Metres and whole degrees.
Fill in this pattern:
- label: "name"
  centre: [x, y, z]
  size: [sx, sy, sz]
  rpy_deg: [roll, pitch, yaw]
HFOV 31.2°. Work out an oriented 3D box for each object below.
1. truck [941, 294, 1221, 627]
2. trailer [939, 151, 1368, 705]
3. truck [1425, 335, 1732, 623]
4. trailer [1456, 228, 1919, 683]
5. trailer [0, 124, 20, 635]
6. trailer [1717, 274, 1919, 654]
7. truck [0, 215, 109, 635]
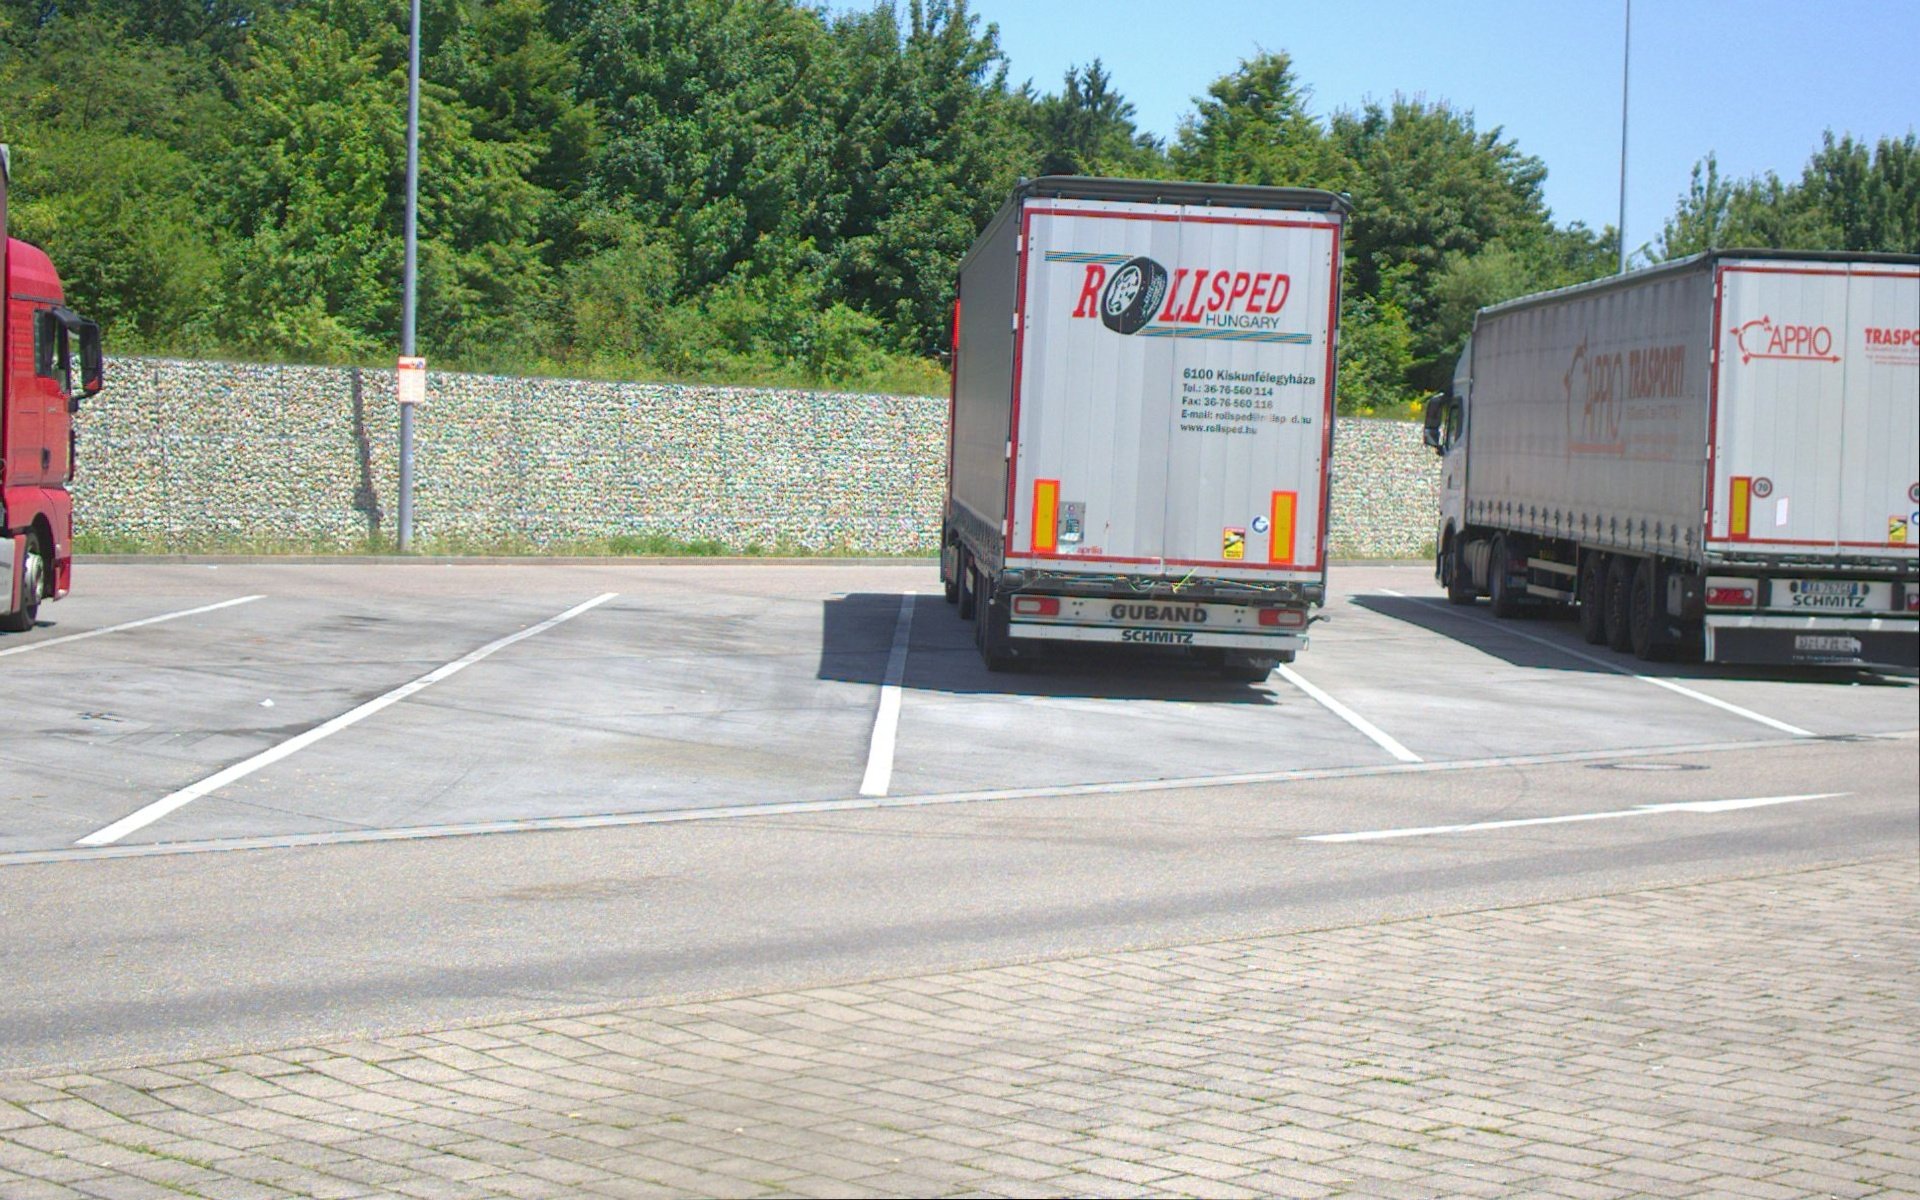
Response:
- label: "truck"
  centre: [1.287, -1.625, 39.806]
  size: [2.852, 3.472, 5.483]
  rpy_deg: [2, 2, -1]
- label: "trailer"
  centre: [1.436, -1.619, 33.193]
  size: [2.906, 4.118, 13.725]
  rpy_deg: [2, 3, -1]
- label: "truck"
  centre: [8.060, -1.622, 45.495]
  size: [2.852, 3.472, 5.483]
  rpy_deg: [2, 2, -1]
- label: "trailer"
  centre: [8.153, -1.625, 38.682]
  size: [2.838, 4.118, 13.724]
  rpy_deg: [2, 3, -1]
- label: "trailer"
  centre: [-9.151, -1.486, 21.297]
  size: [2.906, 4.118, 13.725]
  rpy_deg: [2, 3, -1]
- label: "trailer"
  centre: [11.790, -1.527, 39.434]
  size: [2.838, 4.118, 13.724]
  rpy_deg: [2, 3, -1]
- label: "truck"
  centre: [-9.241, -1.501, 28.736]
  size: [2.852, 3.416, 5.483]
  rpy_deg: [2, 2, -1]
